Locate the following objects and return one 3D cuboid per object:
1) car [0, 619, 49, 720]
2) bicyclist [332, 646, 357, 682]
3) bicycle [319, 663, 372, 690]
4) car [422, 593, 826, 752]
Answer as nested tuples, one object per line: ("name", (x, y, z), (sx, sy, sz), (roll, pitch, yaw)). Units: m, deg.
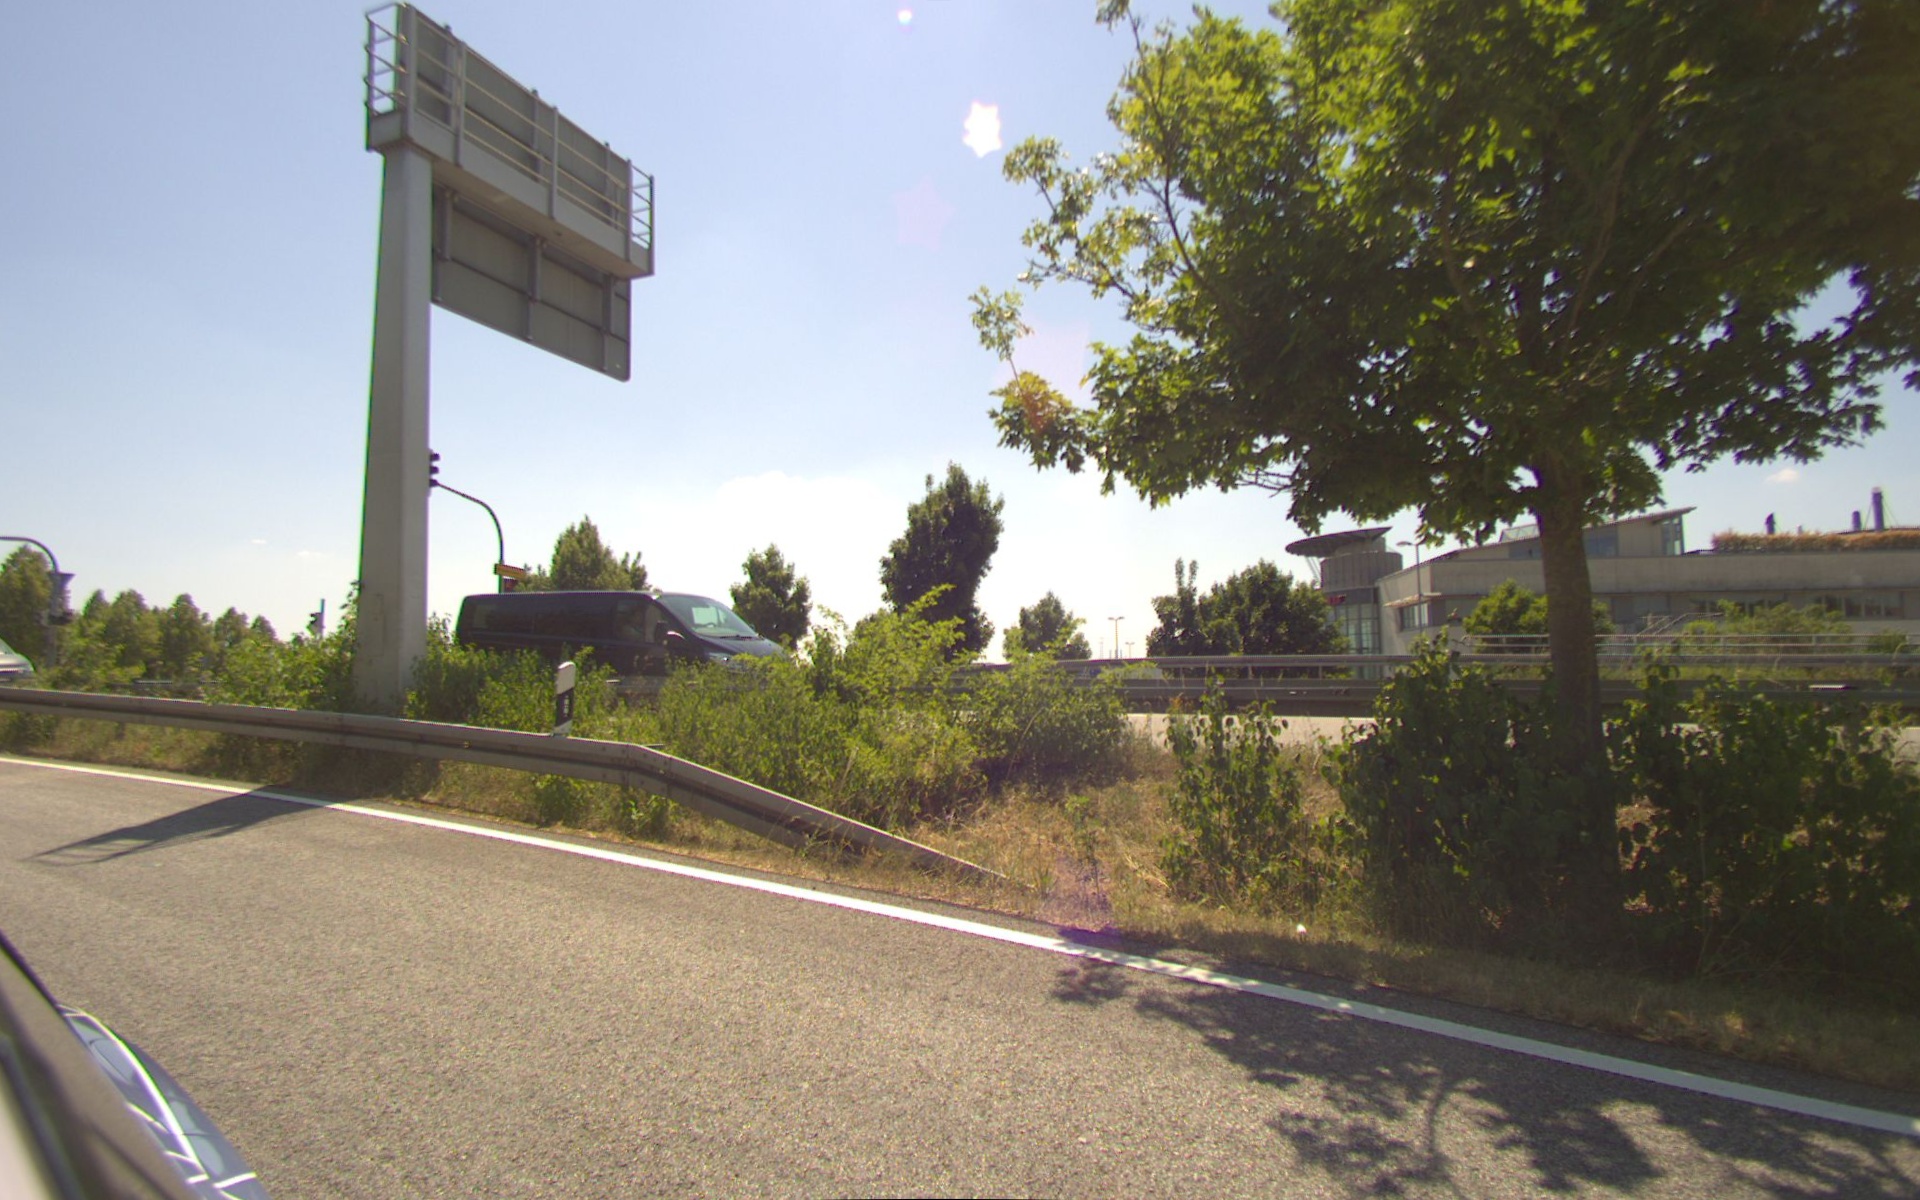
("car", (-20.605, 1.341, 19.840), (4.494, 1.934, 1.934), (-1, -6, 17))
("bicyclist", (-23.960, 2.488, 39.380), (0.675, 1.415, 0.408), (0, -3, 2))
("bicycle", (-23.901, 2.982, 39.360), (1.807, 1.032, 0.415), (0, -3, 2))
("car", (-4.782, 0.935, 14.440), (5.370, 1.952, 2.111), (-1, -1, 20))
